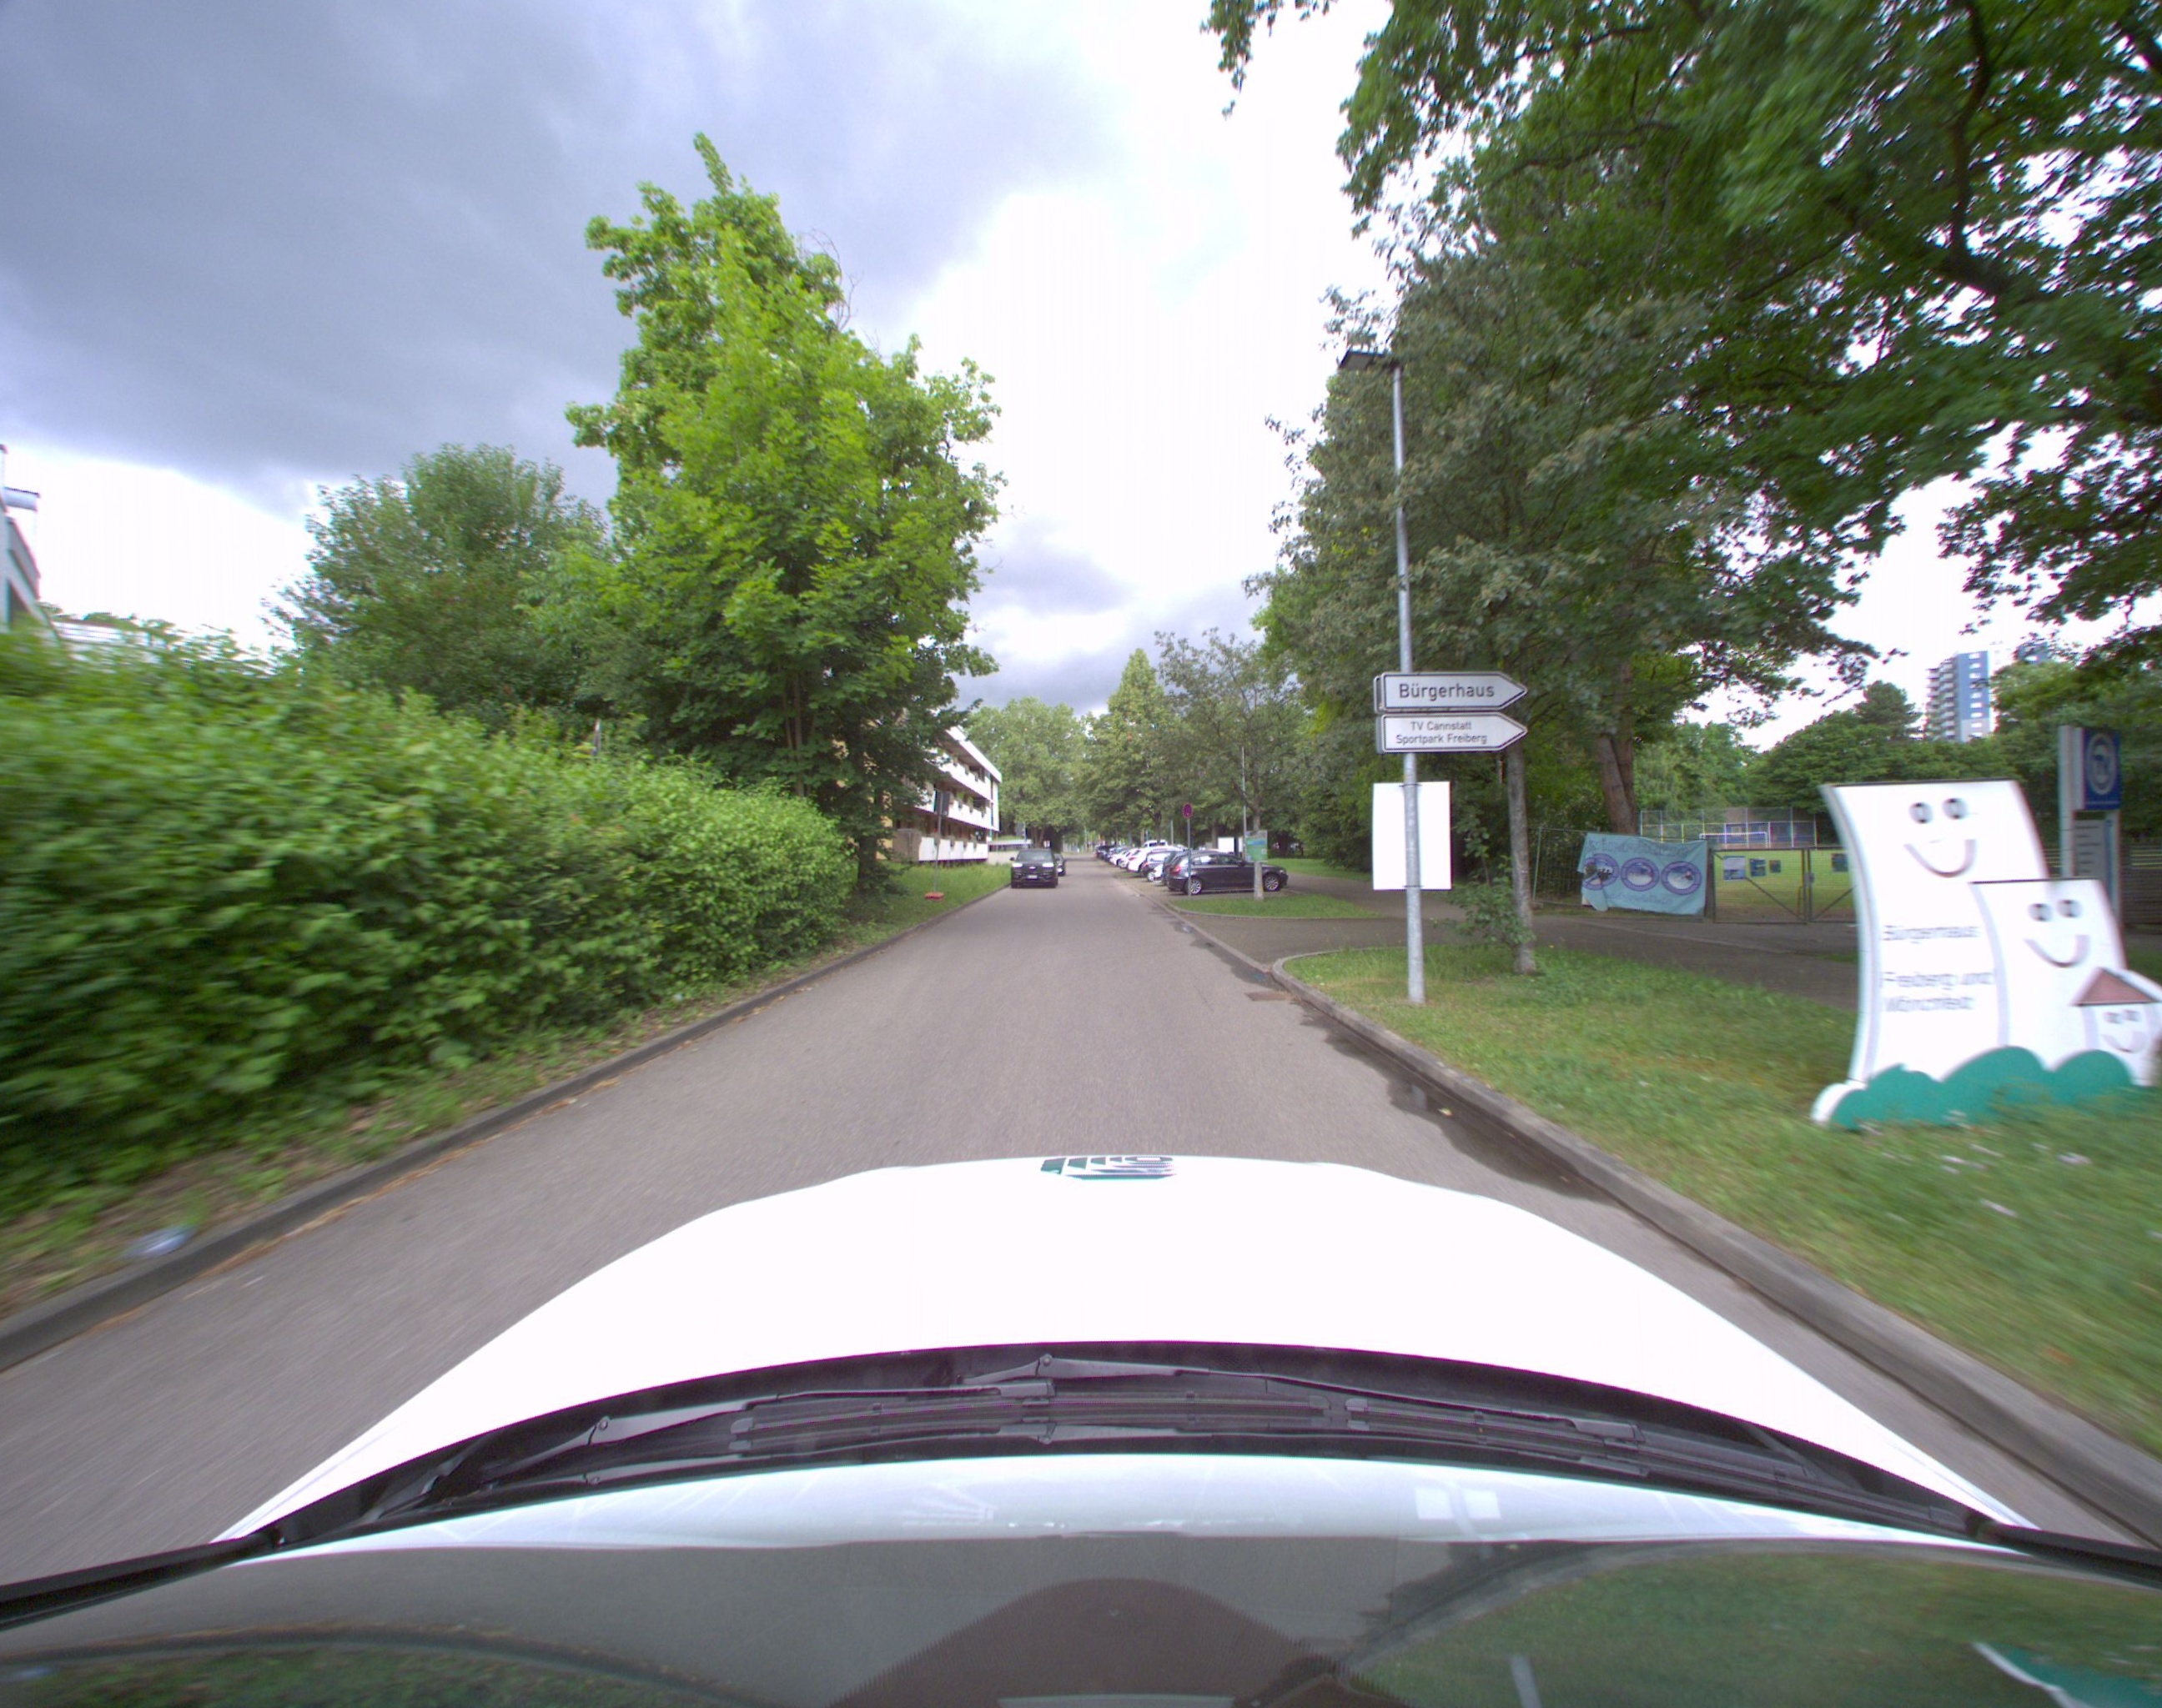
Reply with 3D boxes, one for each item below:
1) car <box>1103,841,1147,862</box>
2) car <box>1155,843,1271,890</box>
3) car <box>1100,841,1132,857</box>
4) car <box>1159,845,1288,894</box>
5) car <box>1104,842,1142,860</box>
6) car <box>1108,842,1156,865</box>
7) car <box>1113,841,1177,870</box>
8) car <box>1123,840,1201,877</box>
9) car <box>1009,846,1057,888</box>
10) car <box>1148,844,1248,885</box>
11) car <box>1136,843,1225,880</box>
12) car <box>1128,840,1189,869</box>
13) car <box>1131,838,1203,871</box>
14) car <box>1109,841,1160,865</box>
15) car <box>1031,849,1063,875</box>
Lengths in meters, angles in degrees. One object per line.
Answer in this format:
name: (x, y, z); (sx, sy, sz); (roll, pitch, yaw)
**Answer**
car: (4.331, -0.229, 80.402); (4.056, 1.687, 1.820); (-5, 0, -4)
car: (4.964, 0.480, 30.963); (4.052, 1.568, 1.821); (-3, -1, -2)
car: (4.635, -0.726, 108.761); (4.056, 1.770, 1.820); (-5, 0, -4)
car: (4.878, 0.540, 28.310); (4.052, 1.434, 1.999); (-3, -1, -2)
car: (4.753, -0.324, 93.495); (4.056, 1.770, 1.820); (-5, 0, -4)
car: (4.688, -0.056, 74.975); (4.056, 1.687, 1.820); (-5, 0, -4)
car: (4.412, 0.095, 56.273); (4.056, 1.687, 1.820); (-5, 0, -4)
car: (4.513, 0.238, 45.761); (4.056, 1.687, 1.820); (-5, 0, -4)
car: (-2.103, 0.545, 36.793); (1.963, 1.747, 4.336); (-1, 0, -1)
car: (5.078, 0.438, 35.780); (4.052, 1.568, 1.821); (-3, 0, -2)
car: (4.909, 0.355, 40.493); (4.056, 1.488, 1.820); (-5, 0, -4)
car: (5.554, 0.020, 58.842); (4.056, 1.687, 1.820); (-5, 0, -4)
car: (5.252, 0.029, 49.880); (4.056, 1.687, 1.820); (-5, 0, -4)
car: (4.554, -0.084, 69.533); (4.056, 1.687, 1.820); (-5, 0, -4)
car: (-2.140, 0.497, 52.484); (1.963, 1.575, 4.336); (-1, 0, -1)
